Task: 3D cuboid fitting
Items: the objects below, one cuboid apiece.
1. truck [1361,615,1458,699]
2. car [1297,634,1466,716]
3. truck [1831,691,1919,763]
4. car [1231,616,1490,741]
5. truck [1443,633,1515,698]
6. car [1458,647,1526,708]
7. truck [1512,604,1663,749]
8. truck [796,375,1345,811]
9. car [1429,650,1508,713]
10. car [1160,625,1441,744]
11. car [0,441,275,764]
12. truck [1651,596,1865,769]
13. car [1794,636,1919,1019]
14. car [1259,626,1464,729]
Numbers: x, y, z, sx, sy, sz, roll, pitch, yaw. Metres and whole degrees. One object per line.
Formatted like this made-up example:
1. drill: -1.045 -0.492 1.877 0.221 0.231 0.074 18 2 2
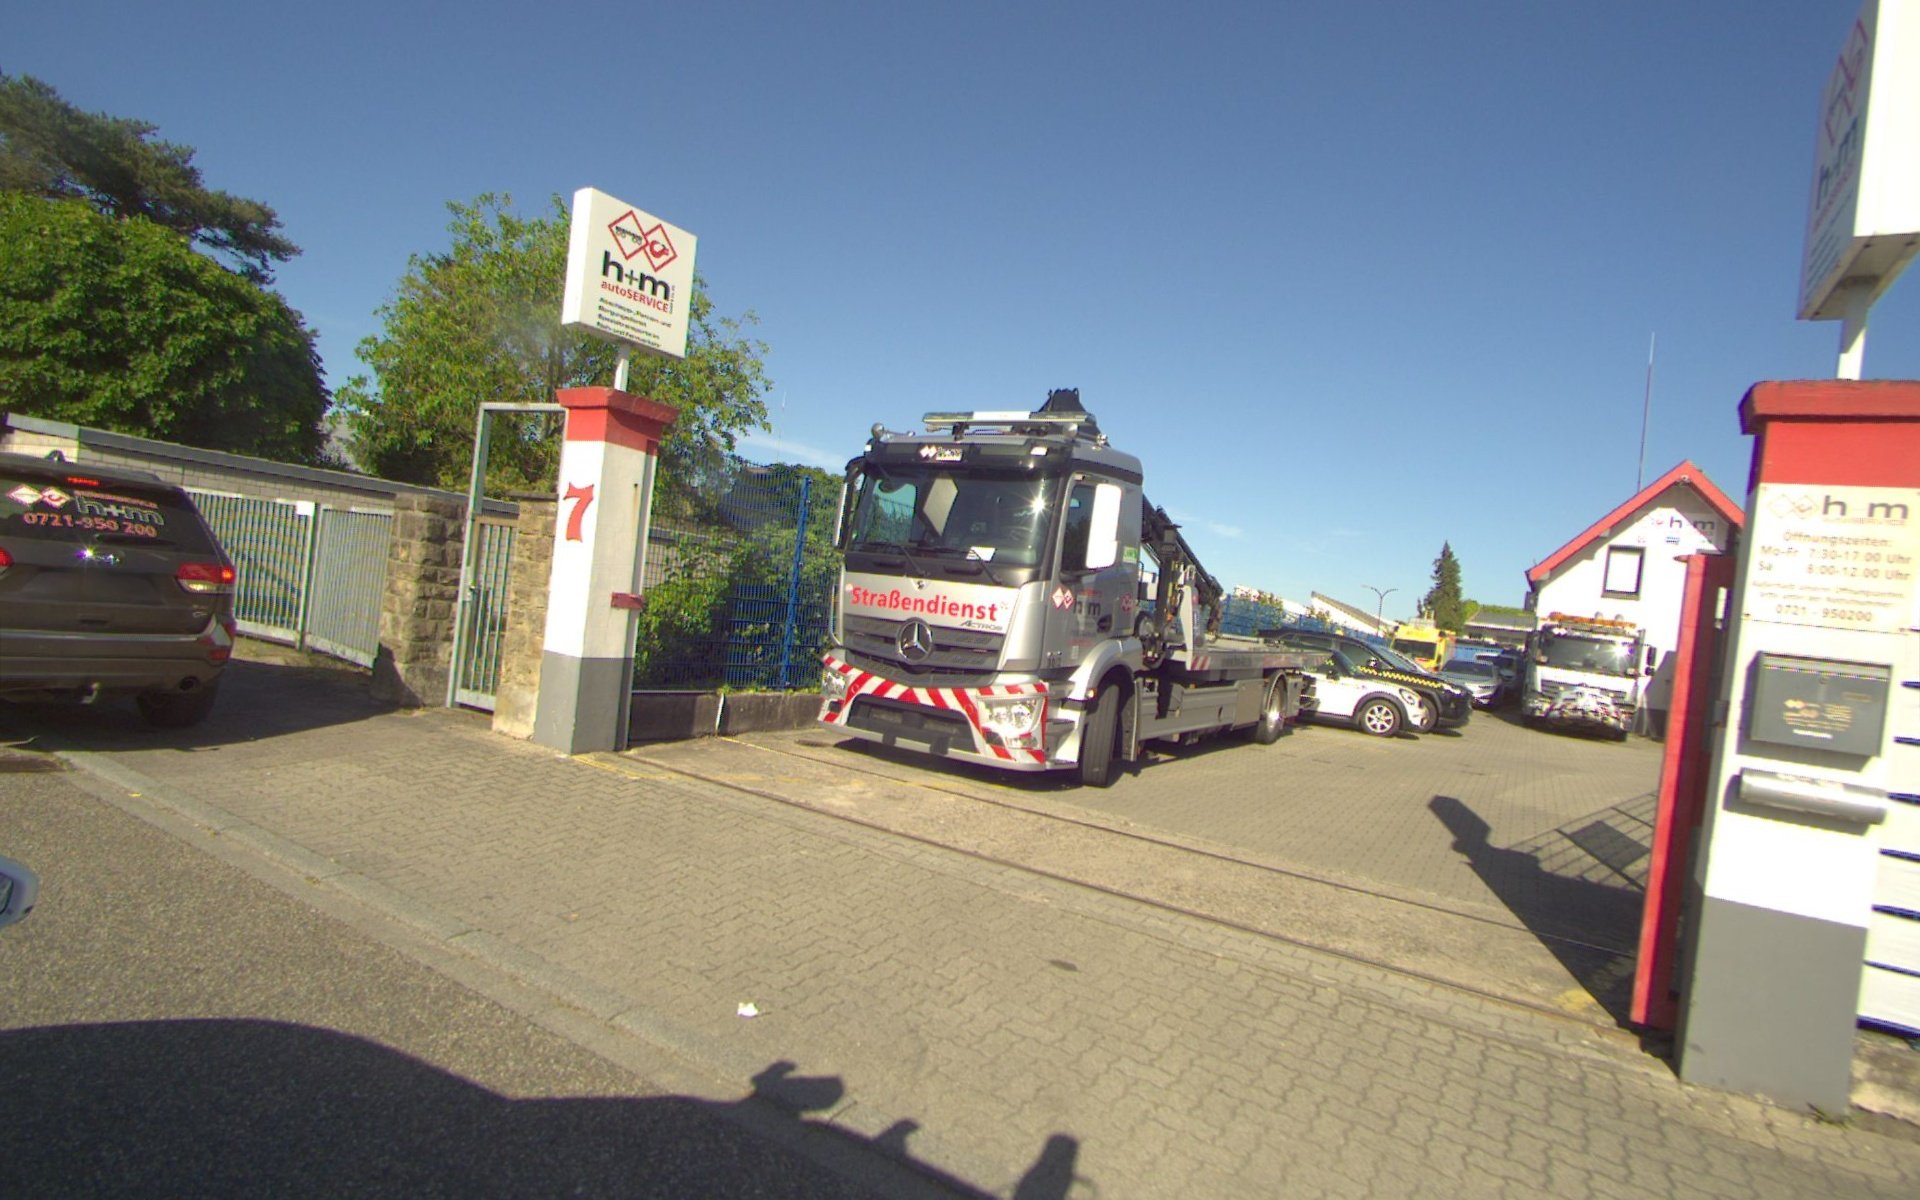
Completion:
1. truck: 19.013 2.477 42.360 2.668 2.873 5.977 6 -2 32
2. car: 11.546 1.997 27.607 3.915 1.613 1.871 7 2 31
3. truck: 43.747 5.954 47.647 2.340 2.852 6.232 7 0 30
4. car: 8.007 1.482 20.251 4.454 1.773 1.871 7 2 31
5. truck: 27.688 3.553 53.557 2.668 2.873 5.977 6 -2 32
6. car: 21.448 3.088 40.459 1.967 2.072 3.991 7 0 32
7. truck: 15.819 1.900 25.733 2.564 2.902 7.158 8 0 30
8. truck: 2.290 0.067 12.226 2.378 3.236 9.781 8 1 31
9. car: 16.318 2.588 32.176 1.774 1.667 3.991 7 0 32
10. car: 6.180 1.449 18.409 4.454 1.439 1.871 7 2 31
11. car: -7.123 -0.160 7.077 4.830 1.764 1.805 6 -2 31
12. truck: 18.958 2.015 24.359 2.563 3.382 6.501 7 -2 28
13. car: 6.475 1.263 5.810 4.275 1.765 1.952 5 2 -44
14. car: 9.037 1.676 22.719 3.915 1.674 1.871 7 2 31
